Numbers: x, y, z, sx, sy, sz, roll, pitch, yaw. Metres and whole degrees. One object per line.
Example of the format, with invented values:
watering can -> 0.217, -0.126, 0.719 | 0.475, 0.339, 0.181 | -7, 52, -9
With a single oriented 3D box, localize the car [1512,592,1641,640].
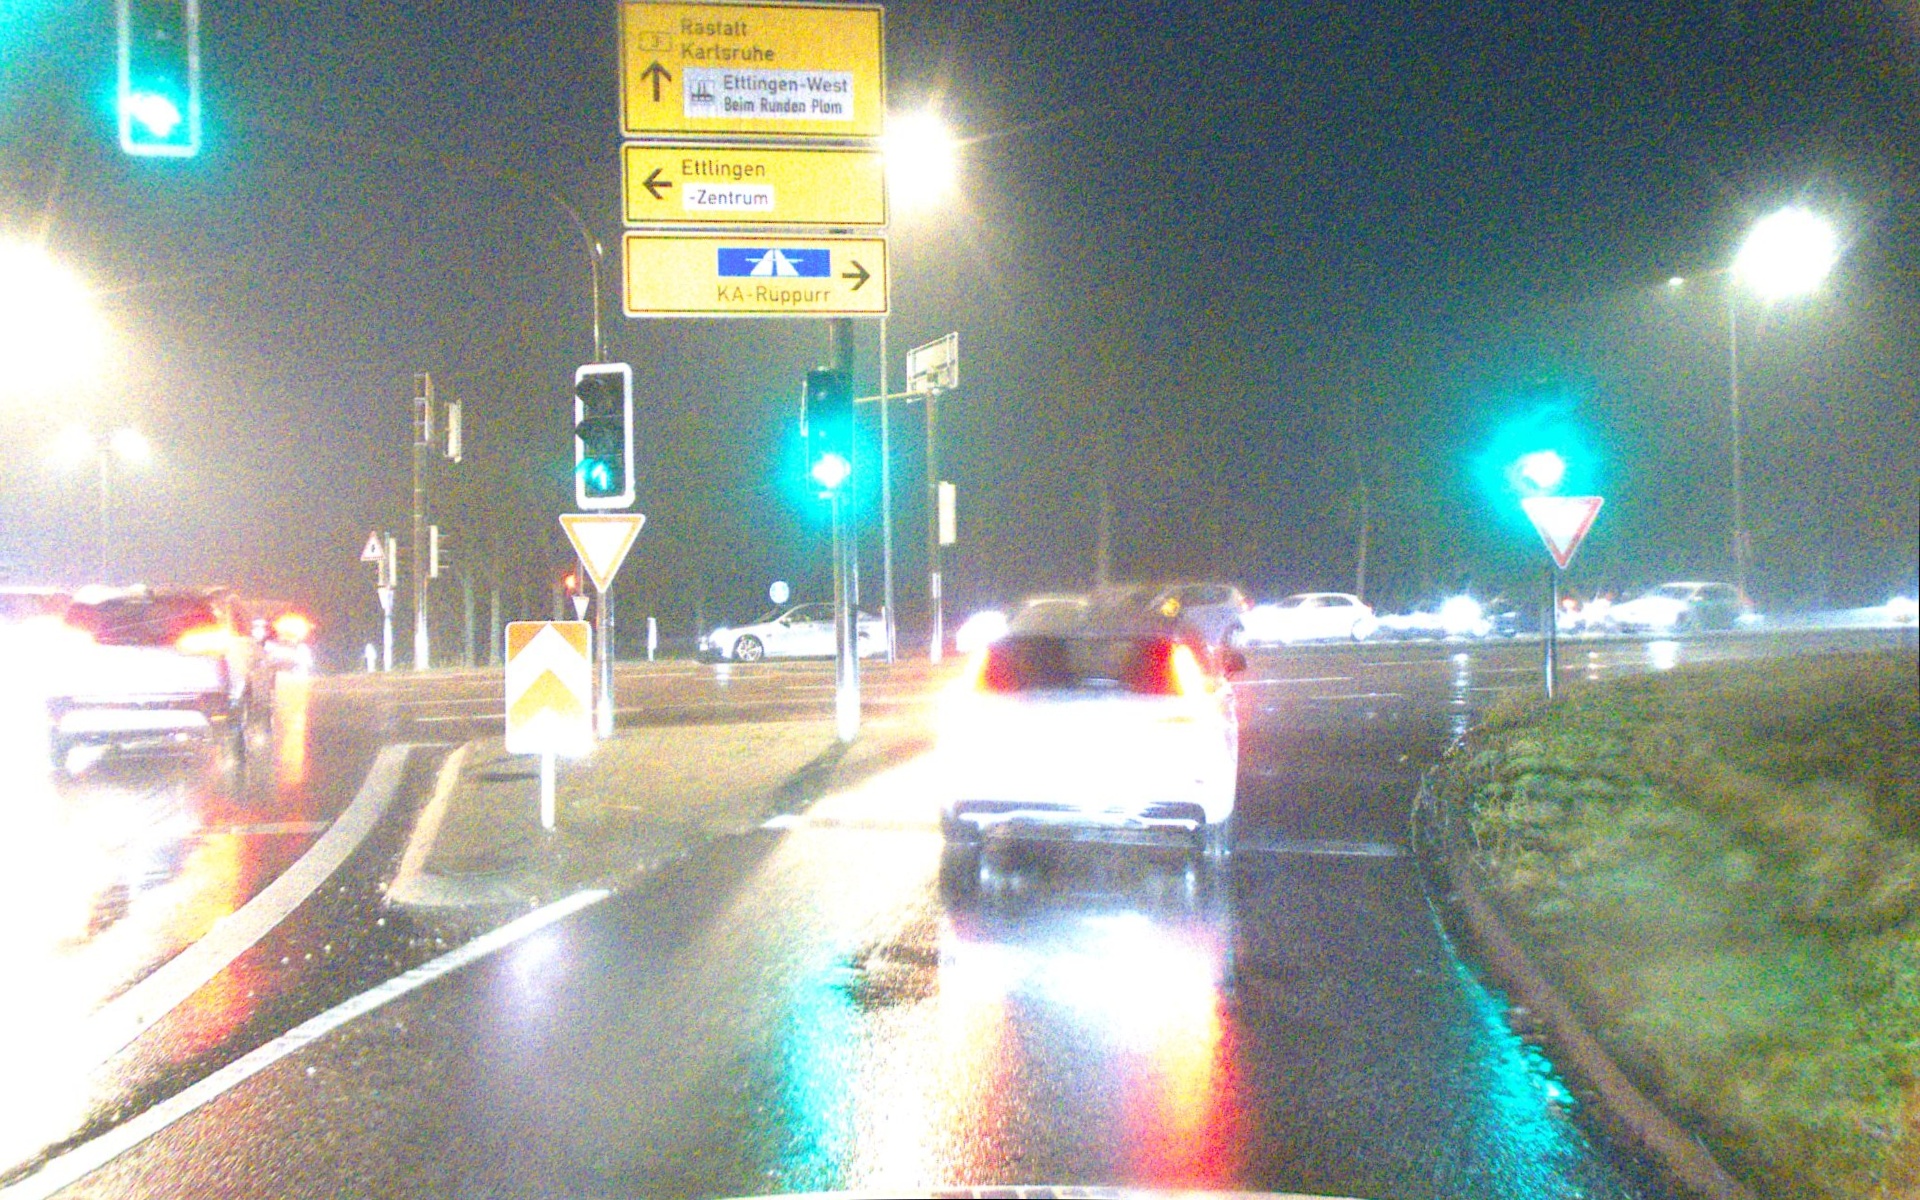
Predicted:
car -> 20.091, 0.516, 53.895 | 3.981, 1.401, 1.749 | -2, 0, -28

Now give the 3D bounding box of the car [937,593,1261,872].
car -> 1.071, 0.700, 11.115 | 1.758, 1.477, 4.272 | 0, 0, 9

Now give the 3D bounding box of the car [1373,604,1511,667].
car -> 14.936, 1.094, 51.208 | 4.064, 1.881, 1.749 | 1, -1, -28

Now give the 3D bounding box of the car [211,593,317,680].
car -> -14.770, 0.723, 34.971 | 1.805, 1.682, 4.442 | 2, 0, -26

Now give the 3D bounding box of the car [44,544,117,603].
car -> -33.481, -0.965, 63.075 | 1.748, 2.115, 3.979 | 1, -1, -18

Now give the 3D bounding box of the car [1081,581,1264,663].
car -> 4.878, 0.463, 37.898 | 3.841, 1.755, 1.751 | -1, 0, -26

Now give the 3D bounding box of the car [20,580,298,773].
car -> -7.607, 0.678, 16.092 | 1.821, 1.619, 4.003 | 1, -1, -17

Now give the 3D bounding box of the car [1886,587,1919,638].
car -> 37.126, 0.507, 62.603 | 3.940, 1.881, 1.813 | 1, -1, -28

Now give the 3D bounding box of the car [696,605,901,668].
car -> -3.935, 0.892, 40.558 | 4.730, 1.452, 1.750 | 1, -1, -27

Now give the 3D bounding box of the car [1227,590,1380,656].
car -> 9.969, 0.677, 47.969 | 4.187, 1.831, 1.788 | 1, -1, -28

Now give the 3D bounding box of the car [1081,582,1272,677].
car -> 6.614, 0.904, 50.457 | 5.523, 2.757, 2.237 | 1, -1, -27

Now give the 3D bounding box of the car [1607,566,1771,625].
car -> 20.026, -0.150, 45.395 | 4.344, 1.509, 1.768 | -1, 2, -27

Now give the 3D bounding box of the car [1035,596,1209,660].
car -> 4.009, 0.693, 40.872 | 3.991, 1.513, 1.705 | 1, -1, -24

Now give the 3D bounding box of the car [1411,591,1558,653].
car -> 14.823, 0.639, 46.724 | 3.918, 1.695, 1.788 | 1, -1, -28

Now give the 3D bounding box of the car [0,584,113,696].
car -> -15.029, 0.637, 26.890 | 1.883, 1.687, 3.959 | 0, -1, -22

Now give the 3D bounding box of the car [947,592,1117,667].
car -> 1.917, 0.779, 43.626 | 4.221, 1.881, 1.749 | 1, -1, -28
